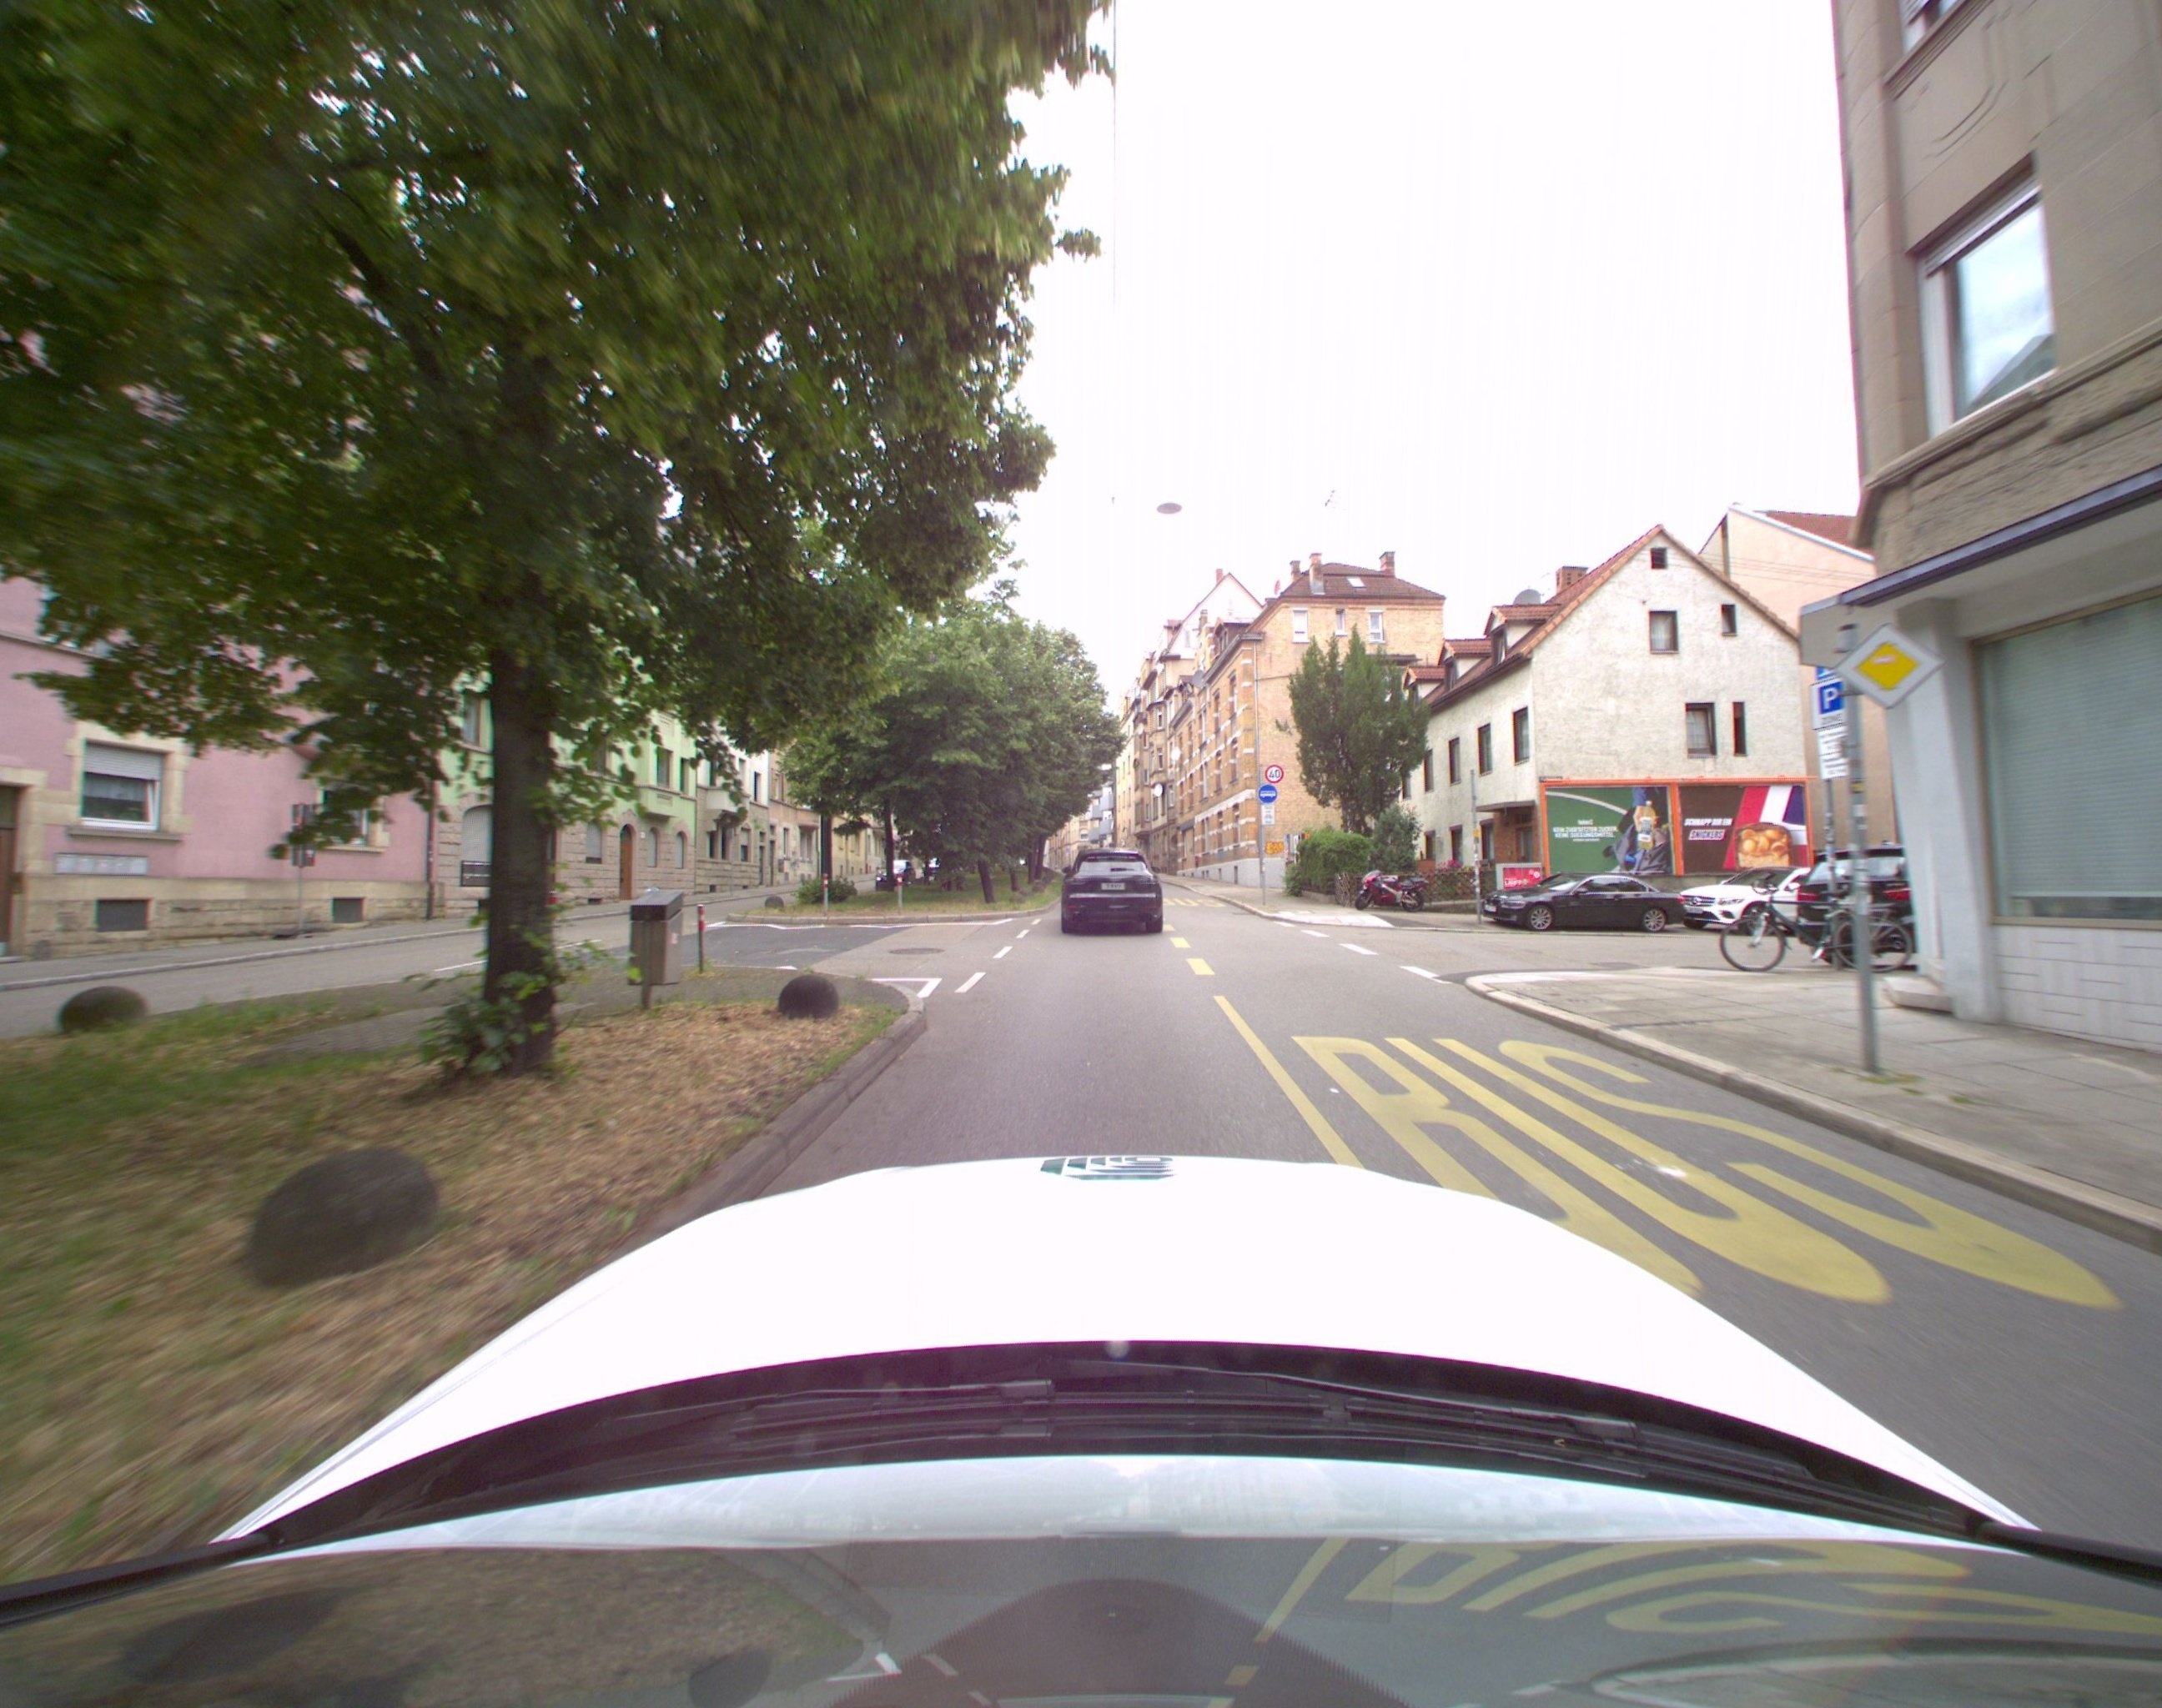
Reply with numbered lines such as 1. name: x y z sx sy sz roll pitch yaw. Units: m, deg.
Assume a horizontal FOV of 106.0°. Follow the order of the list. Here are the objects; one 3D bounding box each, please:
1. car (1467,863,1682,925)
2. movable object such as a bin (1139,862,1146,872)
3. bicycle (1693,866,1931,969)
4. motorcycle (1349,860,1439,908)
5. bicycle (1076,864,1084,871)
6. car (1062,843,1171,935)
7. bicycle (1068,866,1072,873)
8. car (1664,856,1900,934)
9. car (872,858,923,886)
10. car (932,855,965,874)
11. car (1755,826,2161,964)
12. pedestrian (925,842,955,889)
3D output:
1. car: 11.736 0.923 19.547 4.113 1.285 1.782 0 3 -2
2. movable object such as a bin: 5.525 1.175 73.363 0.593 0.904 0.562 0 -1 -4
3. bicycle: 8.891 0.793 10.004 0.645 1.140 2.049 4 -7 -42
4. motorcycle: 8.512 0.806 22.195 2.051 1.268 1.009 1 0 -3
5. bicycle: -0.155 2.266 133.009 0.878 1.129 2.972 0 -2 -6
6. car: 0.641 0.644 16.947 1.987 1.665 3.999 1 0 -1
7. bicycle: -2.013 2.736 143.966 0.446 1.037 2.242 -1 -3 -7
8. car: 16.963 0.964 19.826 4.293 1.664 1.872 2 1 -5
9. car: -10.778 1.030 48.147 1.702 1.382 4.671 -2 1 2
10. car: -10.884 0.808 67.096 1.751 1.382 4.671 -2 1 2
11. car: 11.821 0.571 10.952 4.363 1.646 1.779 0 -5 -10
12. pedestrian: -5.384 0.463 31.105 0.830 1.712 1.123 -4 -2 1
